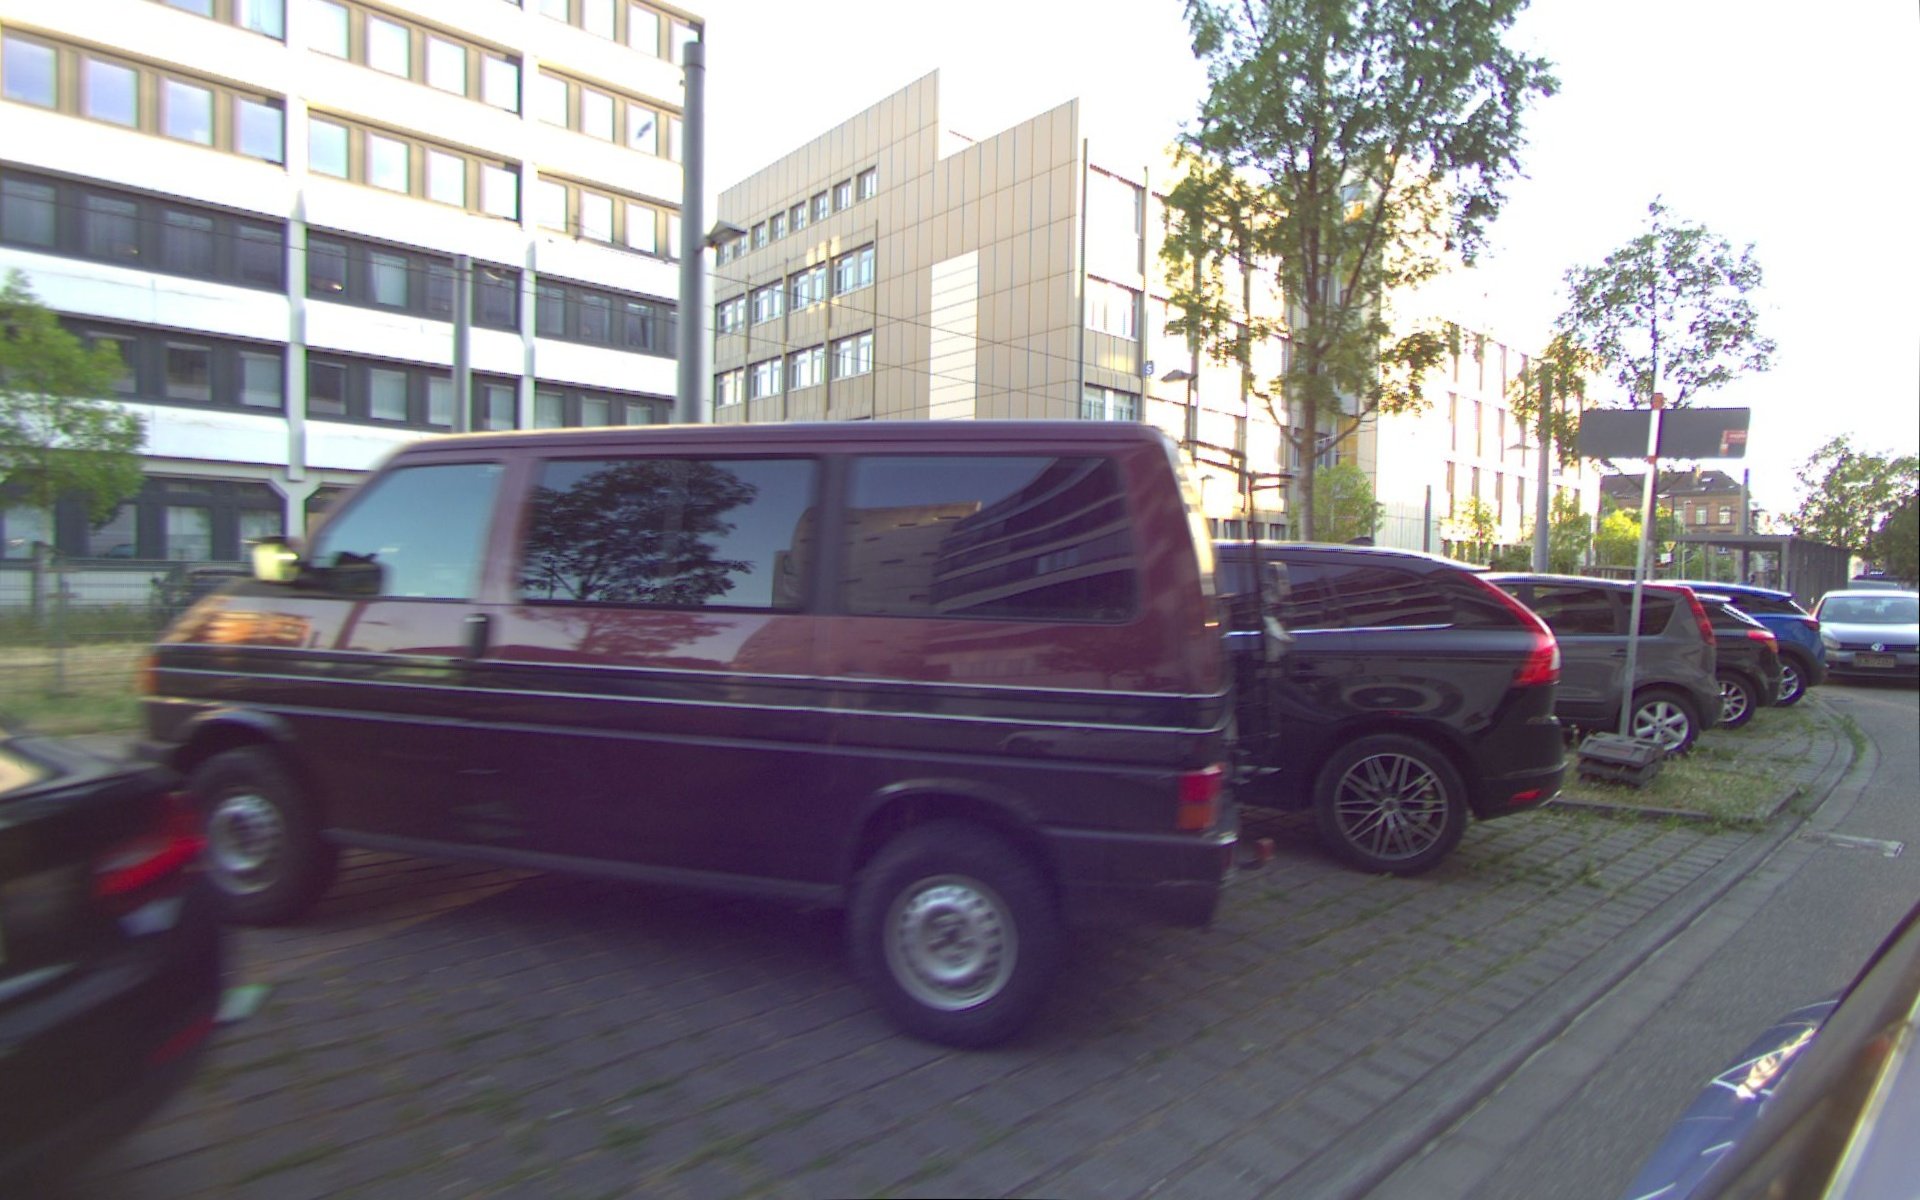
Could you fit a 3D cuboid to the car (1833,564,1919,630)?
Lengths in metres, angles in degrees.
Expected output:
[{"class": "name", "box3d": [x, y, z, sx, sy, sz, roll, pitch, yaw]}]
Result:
[{"class": "car", "box3d": [33.469, -0.151, 36.946, 4.655, 2.203, 1.807, 0, 3, -42]}]

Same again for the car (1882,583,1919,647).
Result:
[{"class": "car", "box3d": [23.754, 0.351, 24.664, 4.119, 1.470, 1.677, 0, 2, -45]}]

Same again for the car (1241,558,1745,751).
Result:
[{"class": "car", "box3d": [4.805, 0.468, 9.743, 3.939, 1.615, 1.730, -1, 0, 13]}]

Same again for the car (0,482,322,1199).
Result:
[{"class": "car", "box3d": [-3.418, 0.540, 1.913, 3.722, 1.484, 1.632, 0, 0, 14]}]

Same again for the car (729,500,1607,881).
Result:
[{"class": "car", "box3d": [1.064, 0.406, 6.233, 4.538, 1.771, 1.862, 0, 0, 16]}]

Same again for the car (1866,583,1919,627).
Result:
[{"class": "car", "box3d": [37.716, 0.167, 40.349, 4.400, 1.599, 1.711, 0, 3, -40]}]

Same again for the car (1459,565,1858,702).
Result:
[{"class": "car", "box3d": [9.180, 0.363, 13.717, 3.941, 1.539, 1.921, 2, 3, 14]}]

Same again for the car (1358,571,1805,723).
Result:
[{"class": "car", "box3d": [6.818, 0.449, 11.558, 3.937, 1.483, 1.731, 1, 2, 11]}]

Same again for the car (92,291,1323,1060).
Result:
[{"class": "car", "box3d": [-0.972, 0.187, 4.242, 4.538, 2.061, 1.862, 0, 0, 16]}]

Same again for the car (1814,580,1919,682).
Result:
[{"class": "car", "box3d": [15.051, 0.427, 16.425, 1.728, 1.484, 3.943, -1, 1, 39]}]

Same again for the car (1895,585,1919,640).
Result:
[{"class": "car", "box3d": [27.527, 0.341, 28.319, 4.442, 1.470, 1.788, 0, 1, -45]}]
